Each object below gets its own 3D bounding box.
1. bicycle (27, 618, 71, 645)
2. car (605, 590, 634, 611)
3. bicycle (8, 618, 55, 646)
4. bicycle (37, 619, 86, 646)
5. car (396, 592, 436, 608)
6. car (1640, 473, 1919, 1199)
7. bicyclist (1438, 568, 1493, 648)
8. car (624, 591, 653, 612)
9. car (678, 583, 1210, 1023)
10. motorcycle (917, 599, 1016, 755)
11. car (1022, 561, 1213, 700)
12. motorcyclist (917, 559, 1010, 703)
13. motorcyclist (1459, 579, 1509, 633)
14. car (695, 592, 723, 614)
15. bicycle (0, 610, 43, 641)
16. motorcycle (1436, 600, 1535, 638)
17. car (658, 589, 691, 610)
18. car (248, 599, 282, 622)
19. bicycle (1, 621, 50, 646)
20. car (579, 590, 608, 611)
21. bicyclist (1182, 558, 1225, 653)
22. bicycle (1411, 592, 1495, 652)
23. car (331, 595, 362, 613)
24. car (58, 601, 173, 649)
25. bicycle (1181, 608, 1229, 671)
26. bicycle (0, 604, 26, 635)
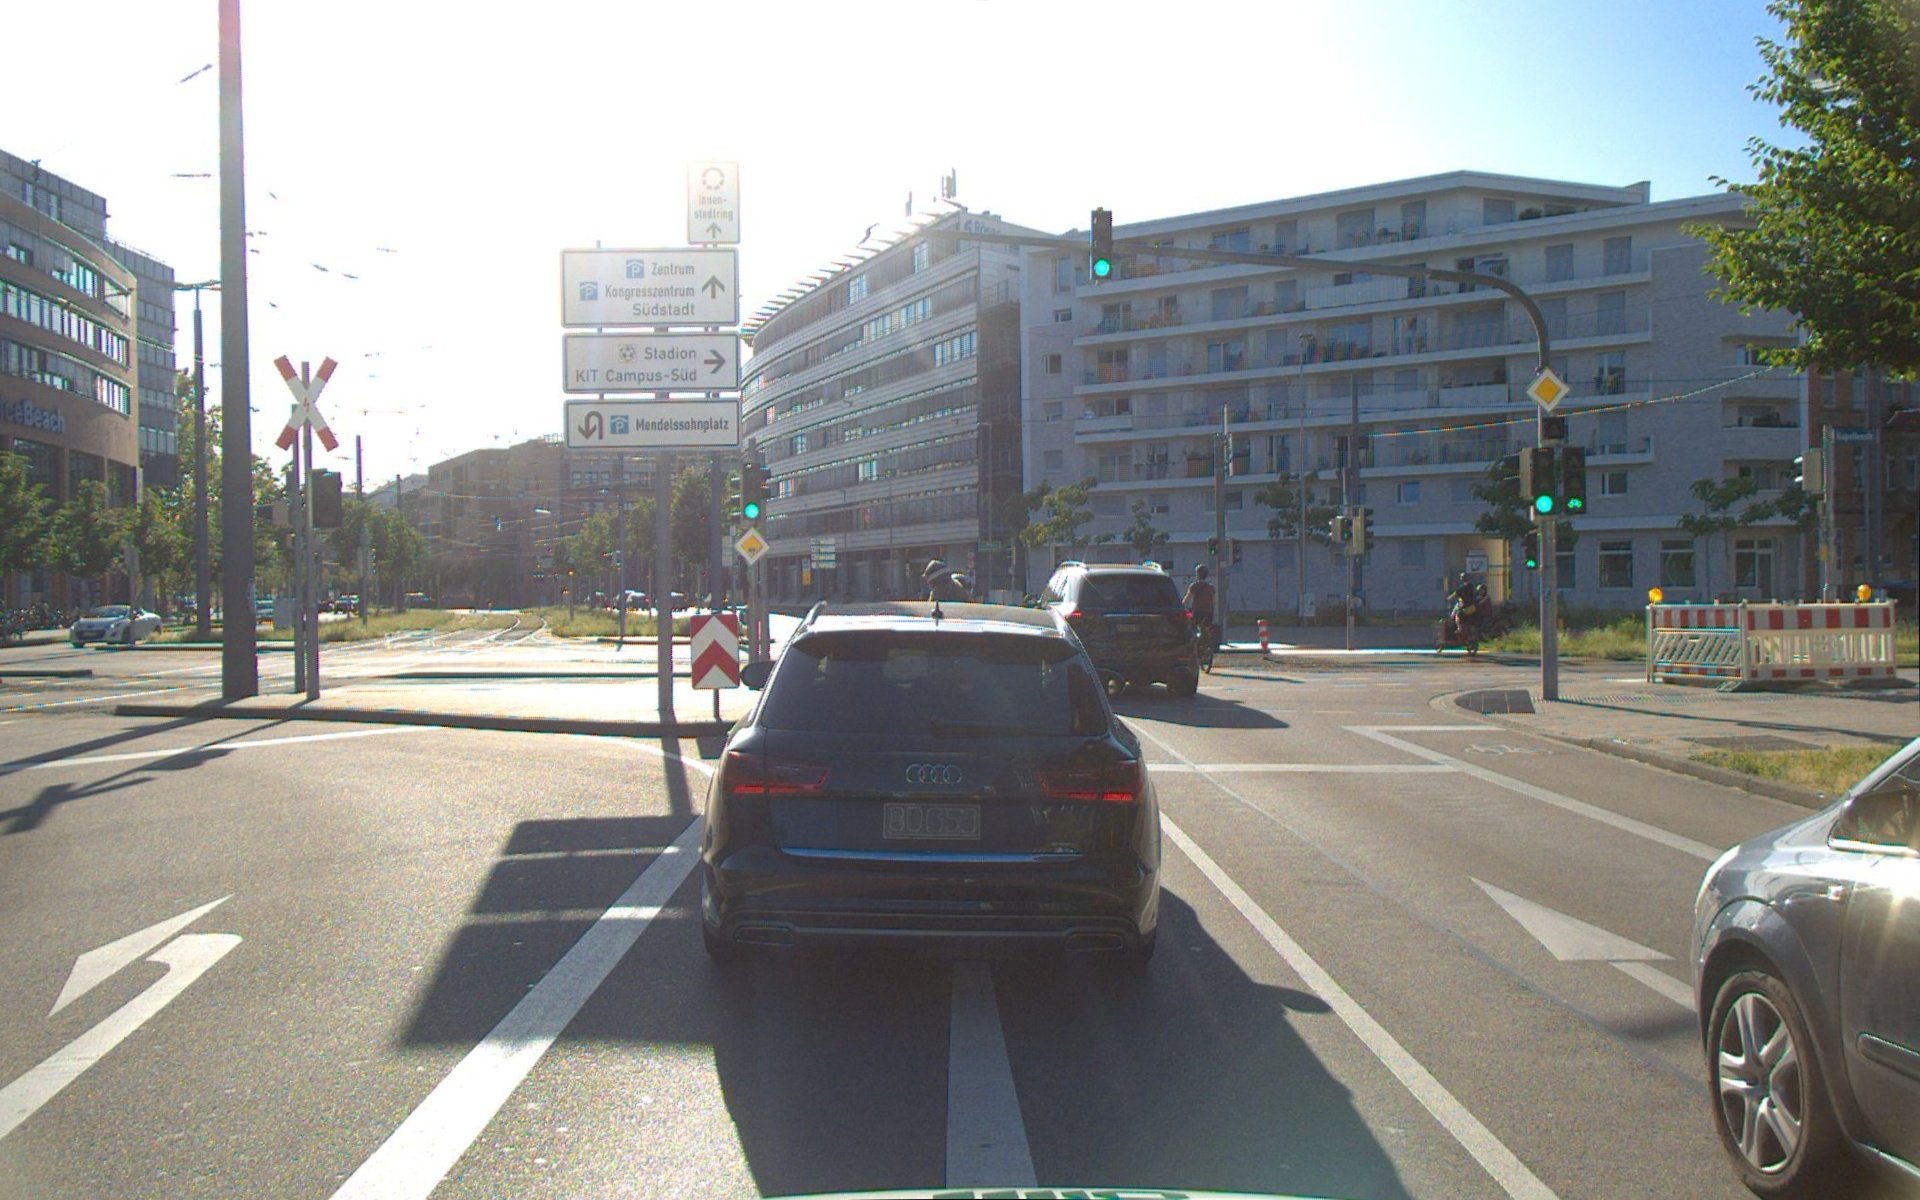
[{"bbox_3d":[-50.953,1.766,92.528,2.092,1.458,0.759,-2,-1,8],"label":"bicycle"},{"bbox_3d":[-29.643,0.029,143.950,1.964,1.736,3.978,-1,0,-19],"label":"car"},{"bbox_3d":[-50.806,1.768,90.492,2.197,1.458,0.719,-2,-1,8],"label":"bicycle"},{"bbox_3d":[-50.855,1.849,93.632,2.369,1.458,0.789,-2,-1,8],"label":"bicycle"},{"bbox_3d":[-58.508,0.005,177.881,1.951,1.668,4.414,-1,0,17],"label":"car"},{"bbox_3d":[2.914,0.611,2.813,1.710,1.725,4.260,1,0,-1],"label":"car"},{"bbox_3d":[11.196,0.168,36.622,0.754,1.736,0.925,-1,0,-19],"label":"bicyclist"},{"bbox_3d":[-26.896,0.119,138.320,1.961,1.624,3.982,-2,0,-16],"label":"car"},{"bbox_3d":[-0.095,0.682,7.670,1.805,1.479,3.999,1,1,-1],"label":"car"},{"bbox_3d":[0.034,0.705,16.115,0.845,1.417,1.892,-1,0,-3],"label":"motorcycle"},{"bbox_3d":[2.093,0.361,23.302,1.963,1.745,4.369,1,1,-4],"label":"car"},{"bbox_3d":[0.027,0.294,15.974,0.845,1.349,0.681,-1,0,-3],"label":"motorcyclist"},{"bbox_3d":[14.791,0.162,46.713,0.908,1.507,1.168,-1,0,-11],"label":"motorcyclist"},{"bbox_3d":[-22.425,0.266,147.781,1.961,1.870,3.982,-1,0,-16],"label":"car"},{"bbox_3d":[-46.860,1.276,81.854,2.507,1.458,0.905,-2,-1,8],"label":"bicycle"},{"bbox_3d":[14.843,0.516,46.718,2.409,1.018,1.168,-1,0,-11],"label":"motorcycle"},{"bbox_3d":[-23.466,-0.058,135.836,1.964,1.624,3.977,-1,0,-19],"label":"car"},{"bbox_3d":[-45.818,0.691,108.944,1.870,1.431,3.968,-2,1,-25],"label":"car"},{"bbox_3d":[-50.648,1.805,89.645,2.362,1.257,0.745,-2,-1,8],"label":"bicycle"},{"bbox_3d":[-31.727,0.056,143.188,1.964,1.736,3.978,-1,0,-19],"label":"car"},{"bbox_3d":[4.379,0.096,29.799,0.640,1.671,0.972,-1,1,2],"label":"bicyclist"},{"bbox_3d":[11.041,0.478,37.084,0.754,1.284,2.071,-1,0,-18],"label":"bicycle"},{"bbox_3d":[-56.749,0.358,152.985,1.958,1.668,4.399,-1,0,-11],"label":"car"},{"bbox_3d":[-30.059,0.872,59.003,1.954,1.572,4.527,-1,1,-3],"label":"car"},{"bbox_3d":[4.390,0.690,29.686,0.640,1.061,1.930,-1,1,2],"label":"bicycle"},{"bbox_3d":[-46.427,0.967,79.615,2.507,1.458,0.905,-2,-1,8],"label":"bicycle"}]
